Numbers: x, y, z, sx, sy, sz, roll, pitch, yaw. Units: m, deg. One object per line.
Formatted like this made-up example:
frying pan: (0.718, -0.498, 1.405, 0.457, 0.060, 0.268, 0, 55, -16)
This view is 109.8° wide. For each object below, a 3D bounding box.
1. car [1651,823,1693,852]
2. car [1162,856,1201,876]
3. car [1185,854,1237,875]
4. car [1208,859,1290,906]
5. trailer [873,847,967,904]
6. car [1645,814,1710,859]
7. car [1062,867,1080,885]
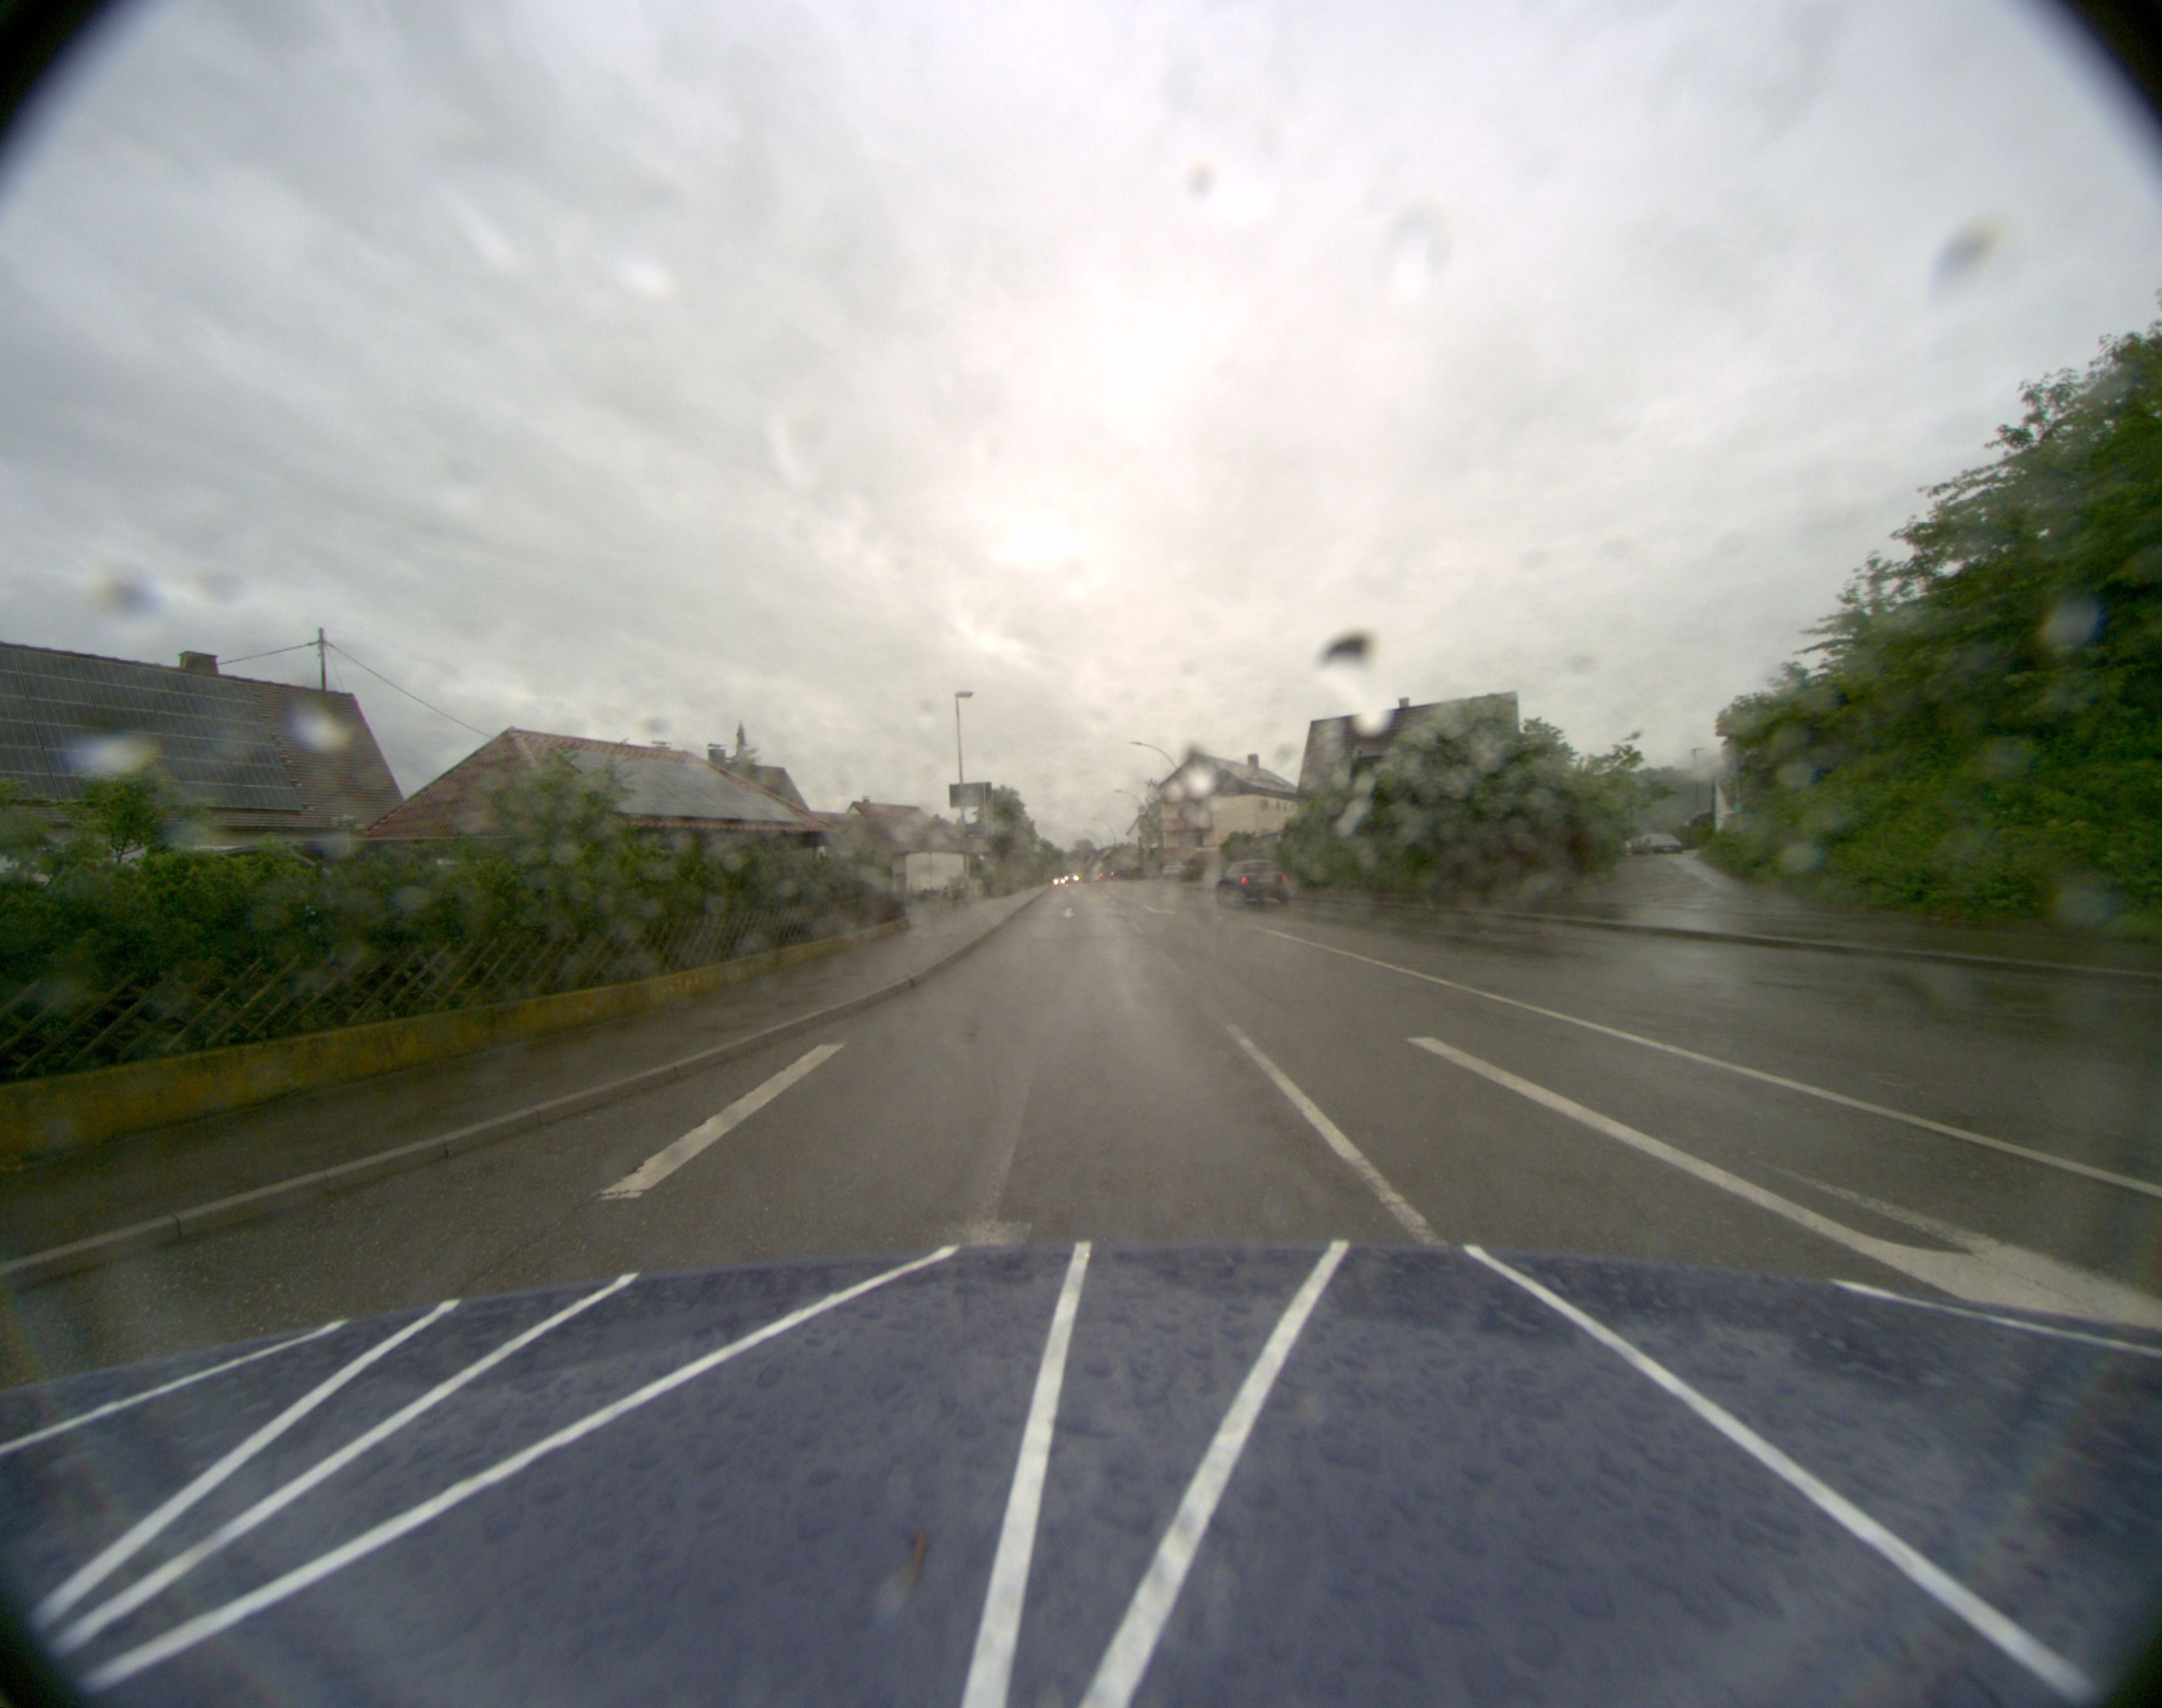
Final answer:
car: (41.131, -1.155, 52.853, 1.995, 1.848, 4.008, -3, 0, 41)
car: (8.902, 1.059, 67.028, 1.864, 1.510, 4.007, -3, 0, 32)
car: (10.470, 0.857, 61.380, 3.661, 1.510, 1.758, -3, 0, 35)
car: (5.551, 0.890, 25.499, 1.681, 1.379, 3.459, -3, 0, -5)
trailer: (-7.724, 0.980, 36.958, 1.645, 2.502, 4.712, -3, -1, 28)
car: (22.971, -0.670, 29.215, 1.706, 1.579, 3.669, -2, 0, 42)
car: (-1.214, 2.666, 92.720, 1.998, 2.002, 4.000, -3, 0, 1)
